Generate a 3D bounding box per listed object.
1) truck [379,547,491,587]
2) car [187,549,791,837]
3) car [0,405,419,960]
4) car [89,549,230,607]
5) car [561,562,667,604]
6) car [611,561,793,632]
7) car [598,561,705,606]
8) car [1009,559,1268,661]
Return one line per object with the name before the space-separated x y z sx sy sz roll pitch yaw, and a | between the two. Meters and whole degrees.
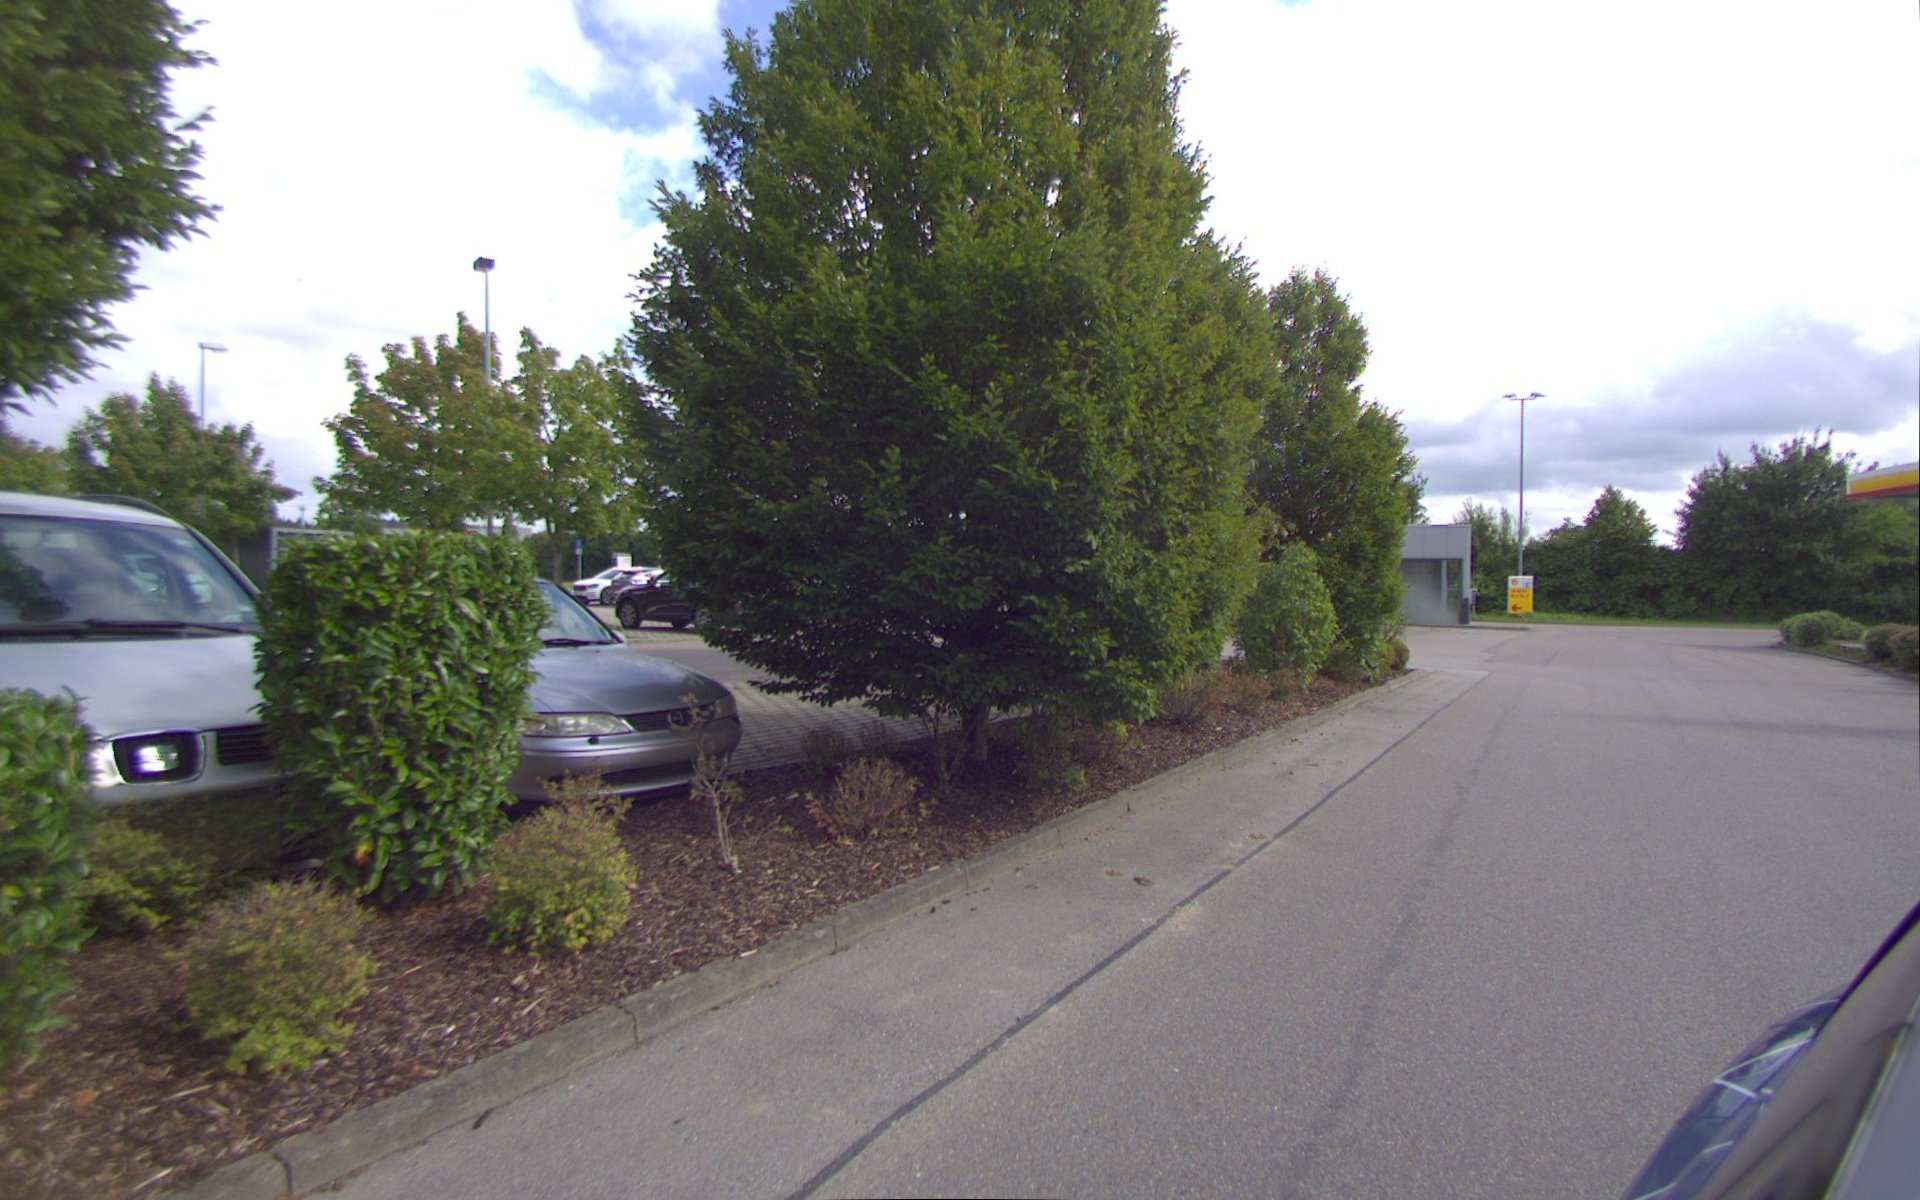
truck | -43.430 -2.642 84.051 2.566 3.075 8.250 1 0 28
car | -3.174 0.409 6.608 3.969 1.366 1.706 1 0 32
car | -4.460 0.226 4.854 4.339 1.738 1.635 1 0 37
car | -23.086 -0.622 29.163 3.969 1.549 1.977 1 0 32
car | -14.978 -0.717 43.996 1.987 1.772 3.949 1 0 35
car | -6.444 -0.114 25.237 4.219 1.638 1.979 1 0 30
car | -12.866 -0.679 42.393 1.987 1.772 3.949 1 0 35
car | 2.885 0.103 16.708 3.861 1.453 1.702 2 1 37
